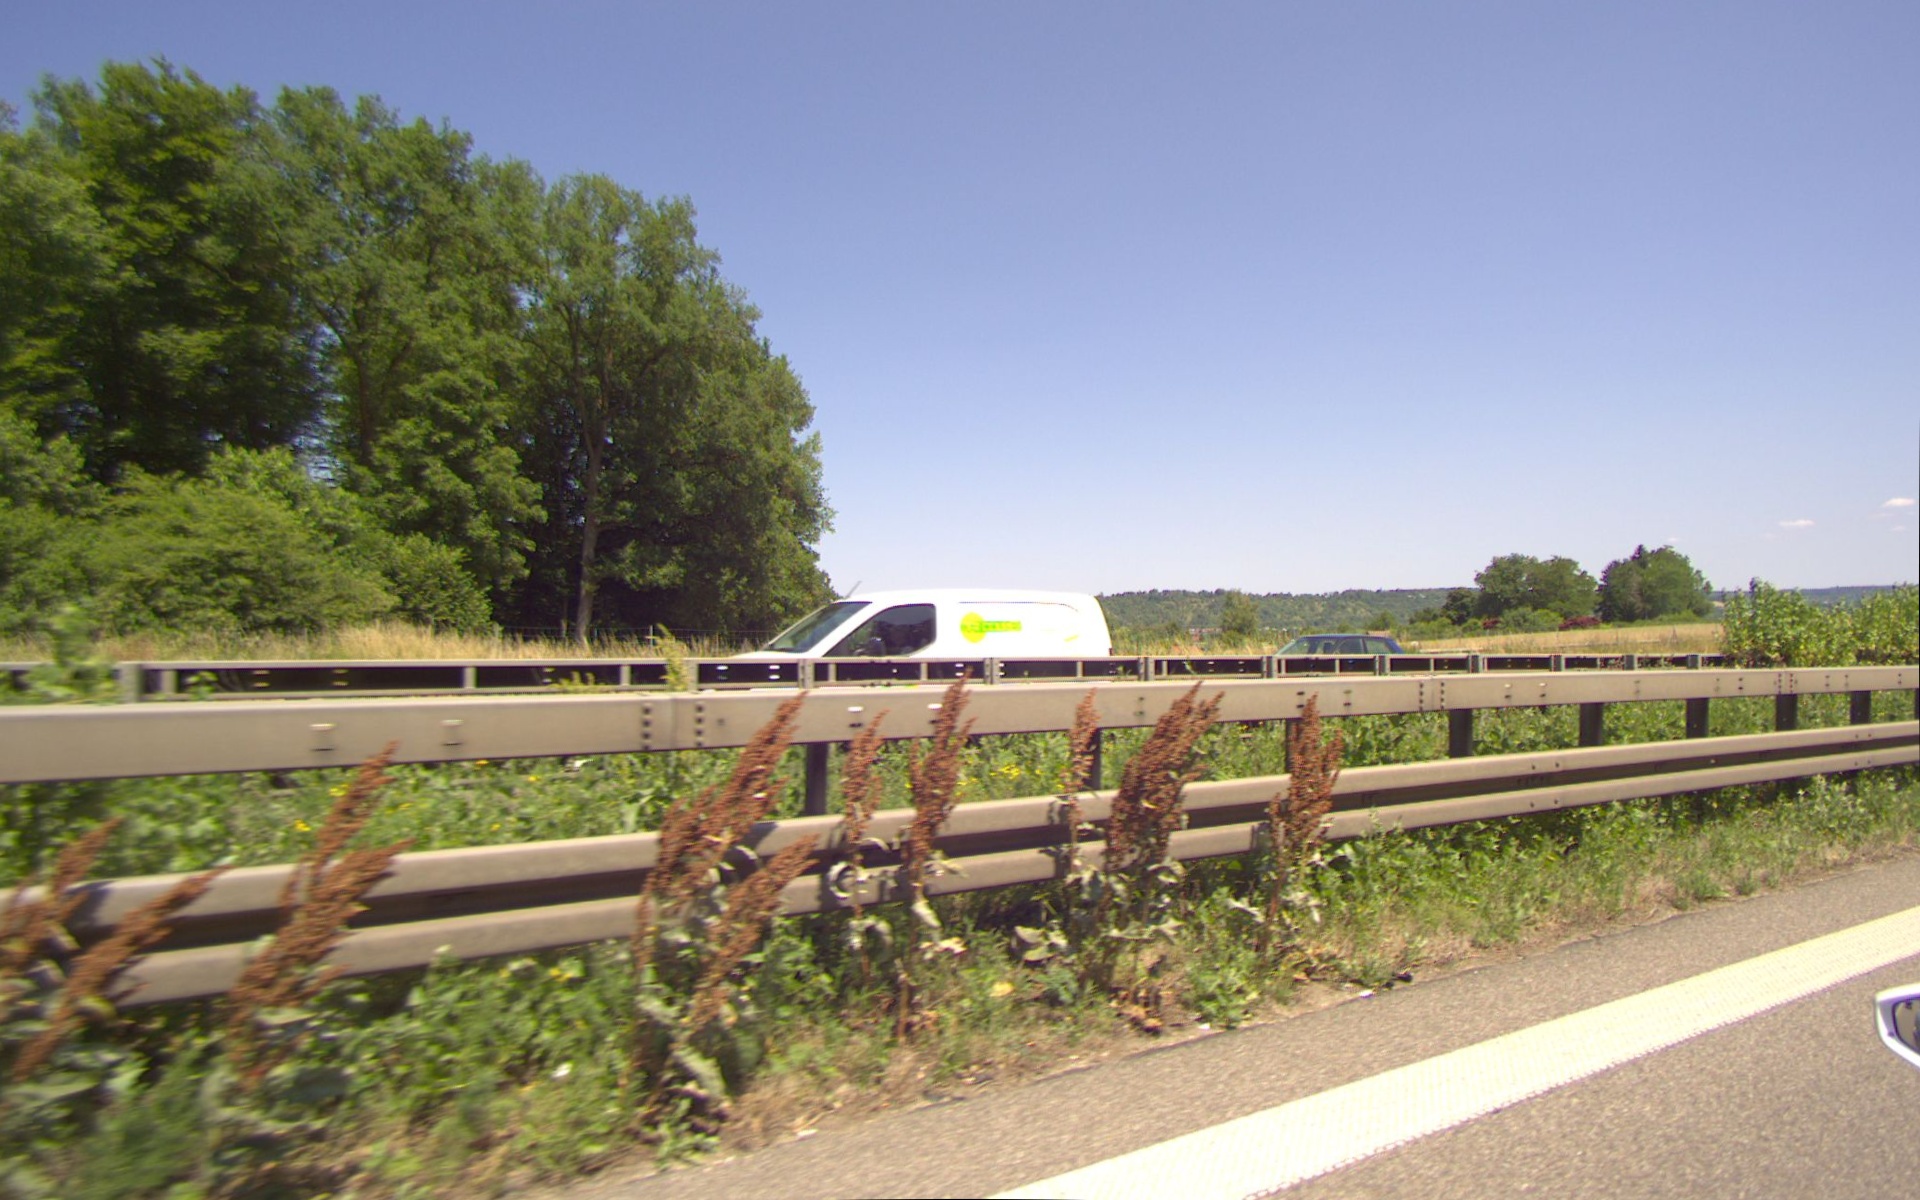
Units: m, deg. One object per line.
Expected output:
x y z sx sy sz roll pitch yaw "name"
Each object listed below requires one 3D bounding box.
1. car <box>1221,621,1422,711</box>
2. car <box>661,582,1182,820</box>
7.125 1.271 19.726 3.865 1.619 1.552 1 -4 -30 "car"
-0.278 0.887 10.749 5.302 2.040 1.896 1 1 -30 "car"
